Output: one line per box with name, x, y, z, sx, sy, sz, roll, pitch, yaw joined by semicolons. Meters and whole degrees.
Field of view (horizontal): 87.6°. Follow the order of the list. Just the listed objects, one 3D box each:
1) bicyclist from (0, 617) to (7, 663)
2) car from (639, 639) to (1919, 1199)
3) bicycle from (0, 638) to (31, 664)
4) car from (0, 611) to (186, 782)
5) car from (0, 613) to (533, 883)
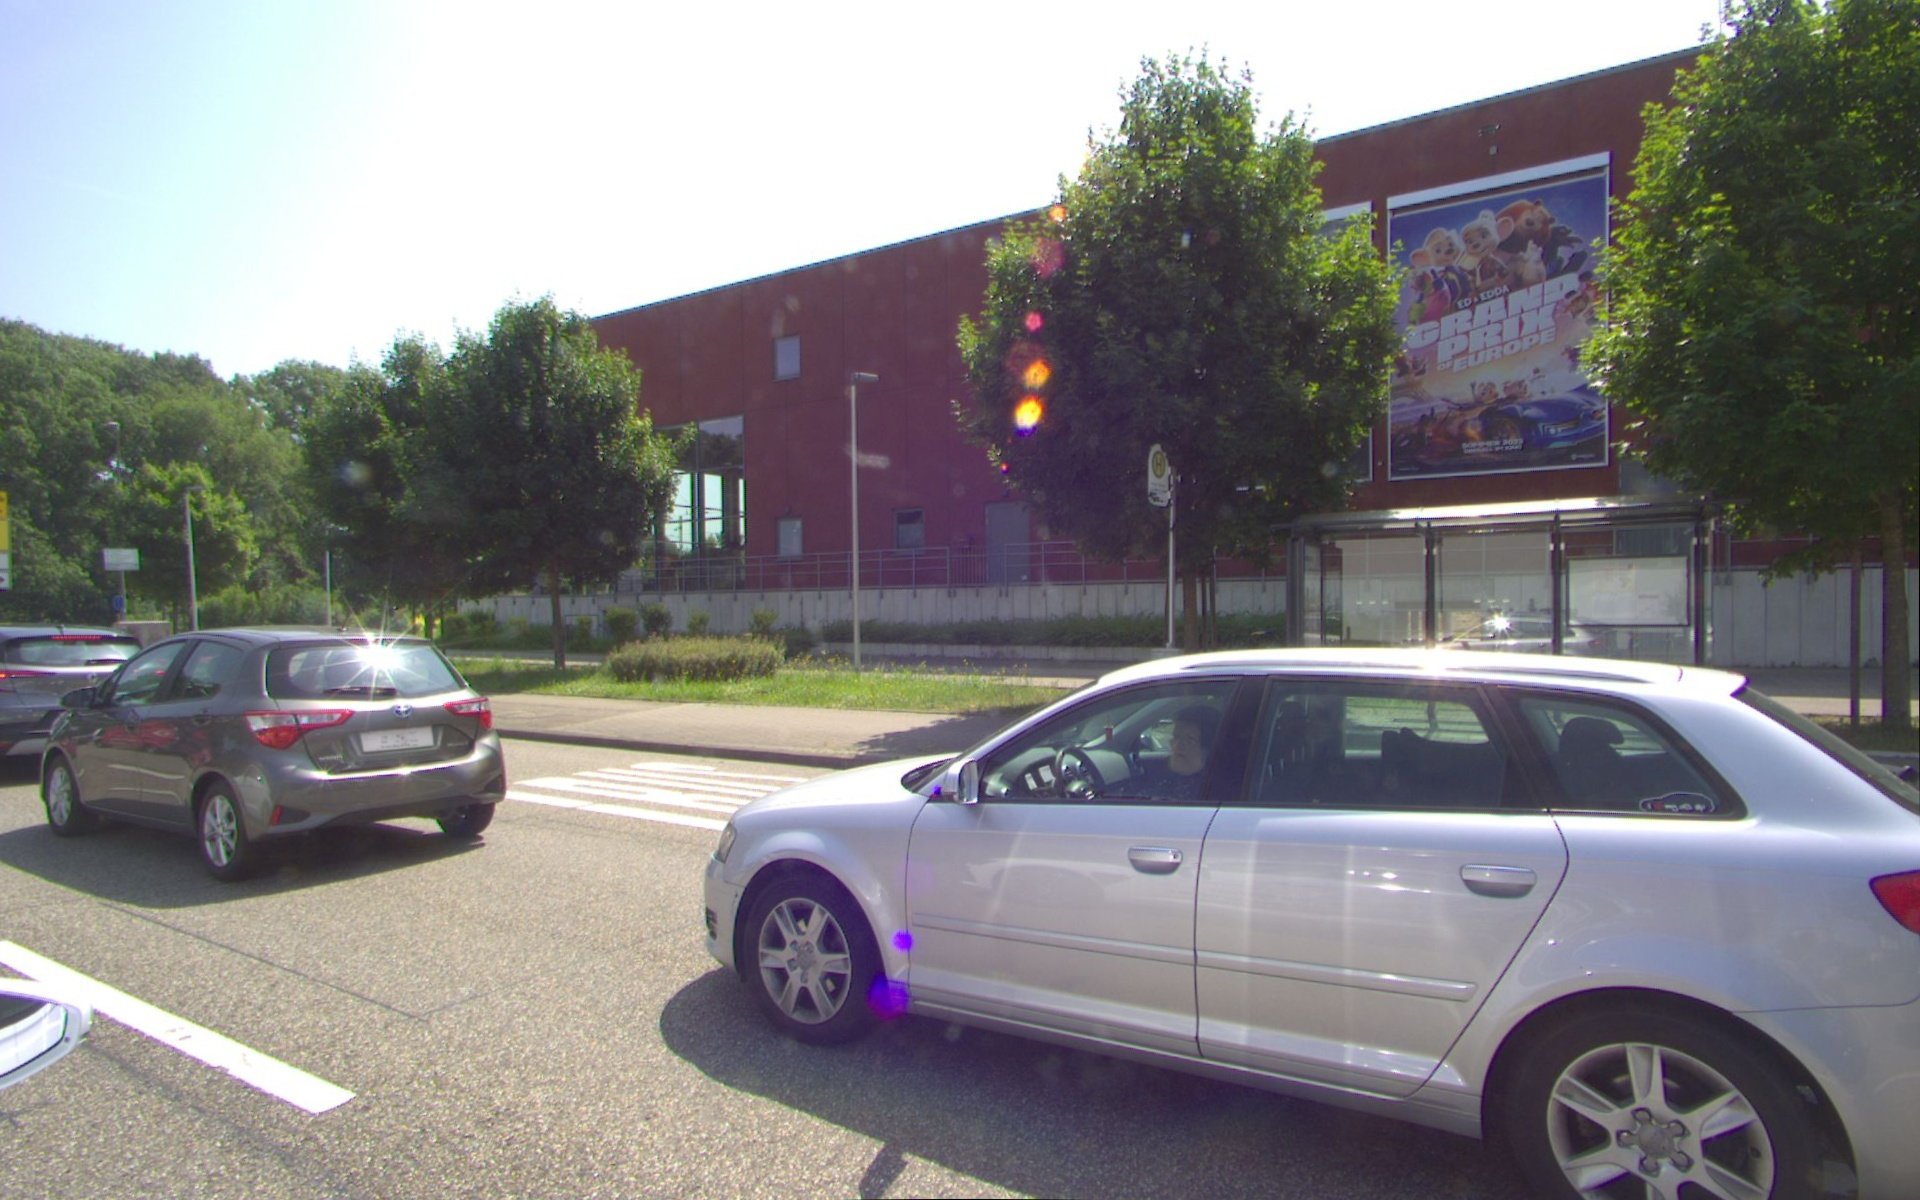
bicyclist;-31.132;1.283;31.945;0.813;1.458;0.598;-1;1;-11
car;0.896;0.850;3.669;4.031;1.379;1.710;-1;-2;31
bicycle;-30.946;1.636;31.989;1.793;0.776;0.600;-1;0;-11
car;-10.464;0.950;11.041;4.031;1.614;1.709;-1;-1;31
car;-5.189;0.898;7.341;4.031;1.496;1.711;-1;-4;31
